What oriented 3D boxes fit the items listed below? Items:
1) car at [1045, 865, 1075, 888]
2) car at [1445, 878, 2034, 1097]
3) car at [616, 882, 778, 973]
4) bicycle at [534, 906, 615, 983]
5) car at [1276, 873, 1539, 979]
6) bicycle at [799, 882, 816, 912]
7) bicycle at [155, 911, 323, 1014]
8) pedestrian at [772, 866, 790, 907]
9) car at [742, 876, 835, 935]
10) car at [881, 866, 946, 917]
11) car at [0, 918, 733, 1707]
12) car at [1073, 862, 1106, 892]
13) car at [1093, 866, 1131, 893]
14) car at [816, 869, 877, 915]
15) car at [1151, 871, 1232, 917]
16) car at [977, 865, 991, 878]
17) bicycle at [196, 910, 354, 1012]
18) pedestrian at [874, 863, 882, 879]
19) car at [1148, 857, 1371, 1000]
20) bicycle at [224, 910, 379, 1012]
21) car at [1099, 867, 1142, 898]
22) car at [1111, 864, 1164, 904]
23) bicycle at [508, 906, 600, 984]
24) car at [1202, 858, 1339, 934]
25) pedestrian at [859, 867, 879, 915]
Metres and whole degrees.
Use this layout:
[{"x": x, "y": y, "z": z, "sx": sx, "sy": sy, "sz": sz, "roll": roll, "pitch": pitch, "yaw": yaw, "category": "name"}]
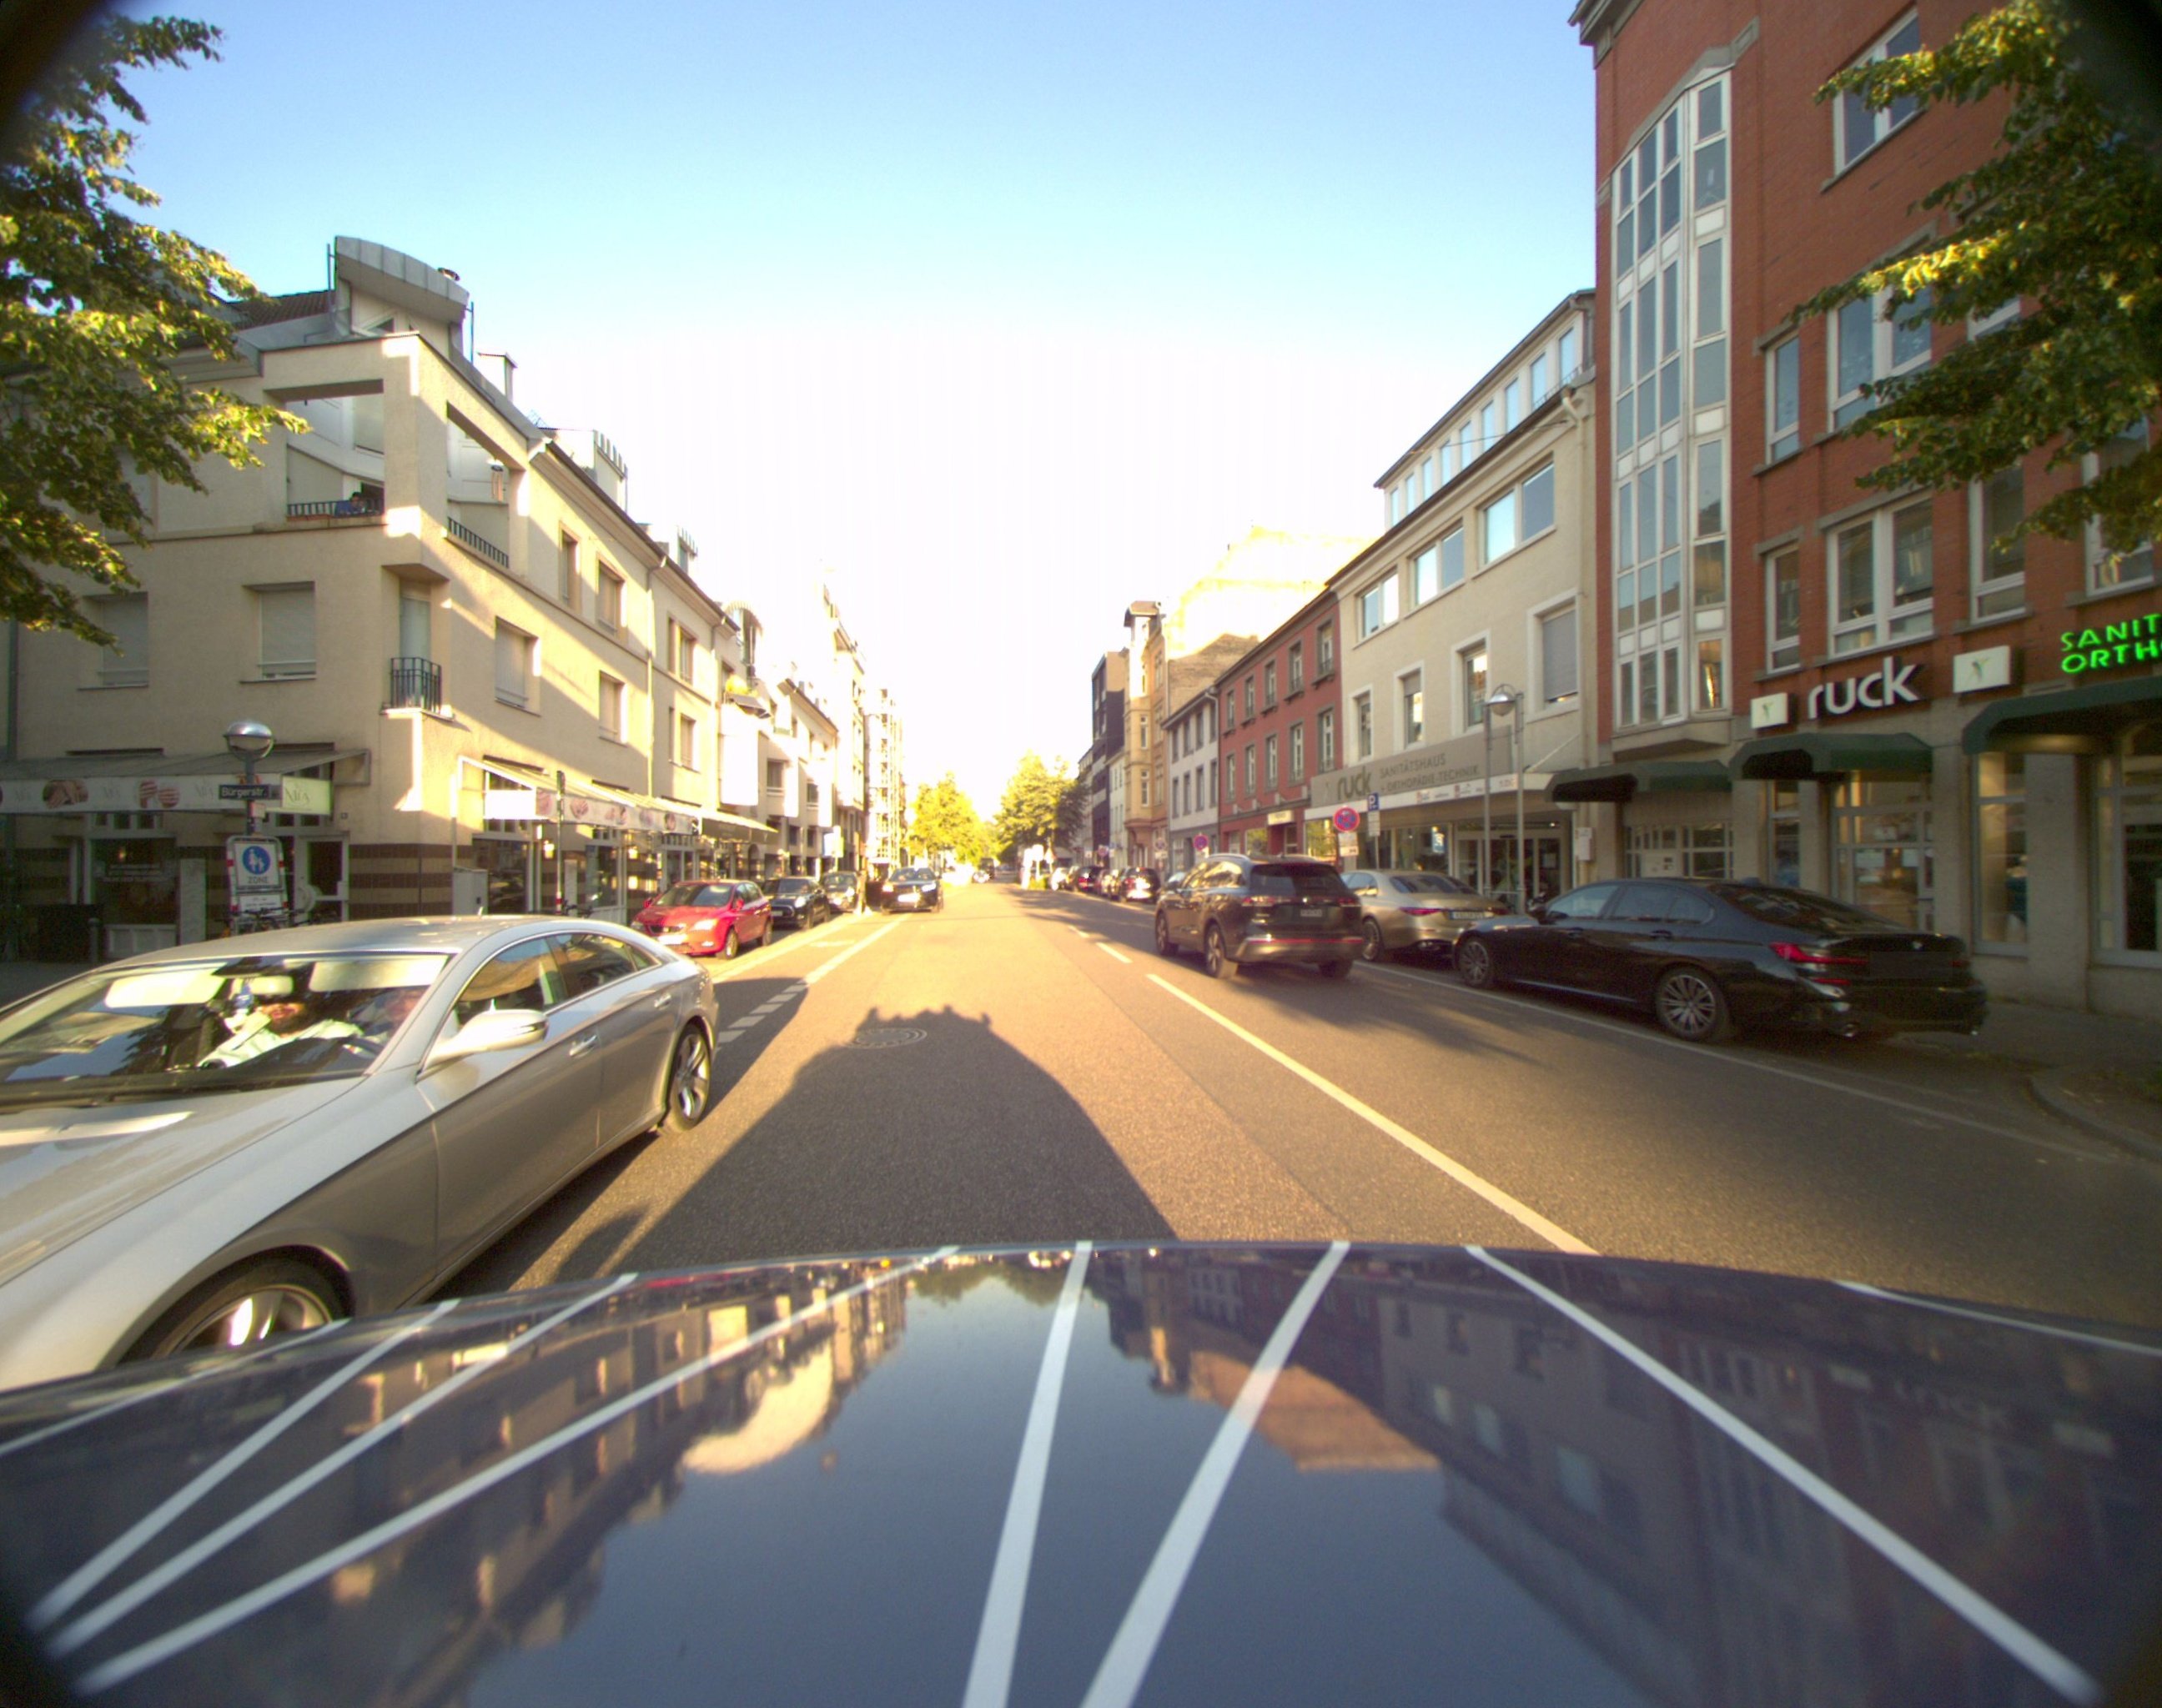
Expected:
[{"x": -1.546, "y": 1.589, "z": 54.718, "sx": 1.674, "sy": 1.512, "sz": 3.563, "roll": 1, "pitch": -1, "yaw": -8, "category": "car"}, {"x": 5.891, "y": 1.049, "z": 7.754, "sx": 1.726, "sy": 1.463, "sz": 4.539, "roll": 2, "pitch": -1, "yaw": -7, "category": "car"}, {"x": -7.185, "y": 1.293, "z": 14.647, "sx": 1.594, "sy": 1.425, "sz": 3.923, "roll": 0, "pitch": -1, "yaw": -8, "category": "car"}, {"x": -8.096, "y": 1.414, "z": 12.208, "sx": 0.315, "sy": 1.040, "sz": 1.664, "roll": 0, "pitch": 0, "yaw": -5, "category": "bicycle"}, {"x": 5.344, "y": 1.099, "z": 13.403, "sx": 2.000, "sy": 1.463, "sz": 5.105, "roll": 1, "pitch": -1, "yaw": -6, "category": "car"}, {"x": -10.595, "y": 1.655, "z": 29.464, "sx": 0.296, "sy": 1.079, "sz": 1.462, "roll": -1, "pitch": 0, "yaw": -7, "category": "bicycle"}, {"x": -11.048, "y": 1.369, "z": 10.061, "sx": 0.322, "sy": 1.098, "sz": 1.878, "roll": -1, "pitch": 0, "yaw": -7, "category": "bicycle"}, {"x": -13.371, "y": 1.450, "z": 33.883, "sx": 0.576, "sy": 1.789, "sz": 0.450, "roll": -2, "pitch": 0, "yaw": -7, "category": "pedestrian"}, {"x": -8.185, "y": 1.379, "z": 21.560, "sx": 1.622, "sy": 1.425, "sz": 3.923, "roll": 0, "pitch": -1, "yaw": -8, "category": "car"}, {"x": -5.950, "y": 1.281, "z": 27.396, "sx": 1.891, "sy": 1.626, "sz": 4.225, "roll": -2, "pitch": 0, "yaw": -8, "category": "car"}, {"x": -3.025, "y": 1.125, "z": 2.948, "sx": 1.748, "sy": 1.392, "sz": 4.637, "roll": -3, "pitch": -1, "yaw": -8, "category": "car"}, {"x": 0.499, "y": 1.435, "z": 47.744, "sx": 1.674, "sy": 1.763, "sz": 3.563, "roll": 2, "pitch": -1, "yaw": -6, "category": "car"}, {"x": 1.739, "y": 1.471, "z": 44.142, "sx": 1.674, "sy": 1.448, "sz": 3.563, "roll": 2, "pitch": -1, "yaw": -6, "category": "car"}, {"x": -8.880, "y": 1.374, "z": 29.002, "sx": 1.622, "sy": 1.583, "sz": 3.923, "roll": -1, "pitch": -1, "yaw": -8, "category": "car"}, {"x": 3.776, "y": 1.339, "z": 26.575, "sx": 1.707, "sy": 1.429, "sz": 4.012, "roll": 2, "pitch": -1, "yaw": -8, "category": "car"}, {"x": -11.540, "y": 2.072, "z": 90.130, "sx": 1.623, "sy": 1.465, "sz": 3.686, "roll": -2, "pitch": 0, "yaw": -8, "category": "car"}, {"x": -10.617, "y": 1.360, "z": 10.106, "sx": 0.291, "sy": 1.098, "sz": 1.886, "roll": -1, "pitch": 0, "yaw": -7, "category": "bicycle"}, {"x": -16.526, "y": 1.391, "z": 61.846, "sx": 0.492, "sy": 1.256, "sz": 0.421, "roll": -2, "pitch": 0, "yaw": -7, "category": "pedestrian"}, {"x": 2.318, "y": 0.918, "z": 11.104, "sx": 1.736, "sy": 1.665, "sz": 4.293, "roll": 2, "pitch": -1, "yaw": -7, "category": "car"}, {"x": -10.310, "y": 1.362, "z": 10.143, "sx": 0.322, "sy": 1.098, "sz": 1.878, "roll": -1, "pitch": 0, "yaw": -7, "category": "bicycle"}, {"x": 2.041, "y": 1.454, "z": 39.959, "sx": 1.690, "sy": 1.461, "sz": 3.689, "roll": 2, "pitch": -1, "yaw": -6, "category": "car"}, {"x": 2.523, "y": 1.310, "z": 34.914, "sx": 1.726, "sy": 1.673, "sz": 4.048, "roll": 2, "pitch": -1, "yaw": -6, "category": "car"}, {"x": -8.435, "y": 1.423, "z": 12.242, "sx": 0.315, "sy": 1.040, "sz": 1.881, "roll": 0, "pitch": 0, "yaw": -5, "category": "bicycle"}, {"x": 4.865, "y": 1.040, "z": 20.281, "sx": 1.726, "sy": 1.768, "sz": 4.935, "roll": 1, "pitch": -1, "yaw": -9, "category": "car"}, {"x": -7.695, "y": 1.331, "z": 27.593, "sx": 0.631, "sy": 1.739, "sz": 0.669, "roll": 0, "pitch": 0, "yaw": -8, "category": "pedestrian"}]
